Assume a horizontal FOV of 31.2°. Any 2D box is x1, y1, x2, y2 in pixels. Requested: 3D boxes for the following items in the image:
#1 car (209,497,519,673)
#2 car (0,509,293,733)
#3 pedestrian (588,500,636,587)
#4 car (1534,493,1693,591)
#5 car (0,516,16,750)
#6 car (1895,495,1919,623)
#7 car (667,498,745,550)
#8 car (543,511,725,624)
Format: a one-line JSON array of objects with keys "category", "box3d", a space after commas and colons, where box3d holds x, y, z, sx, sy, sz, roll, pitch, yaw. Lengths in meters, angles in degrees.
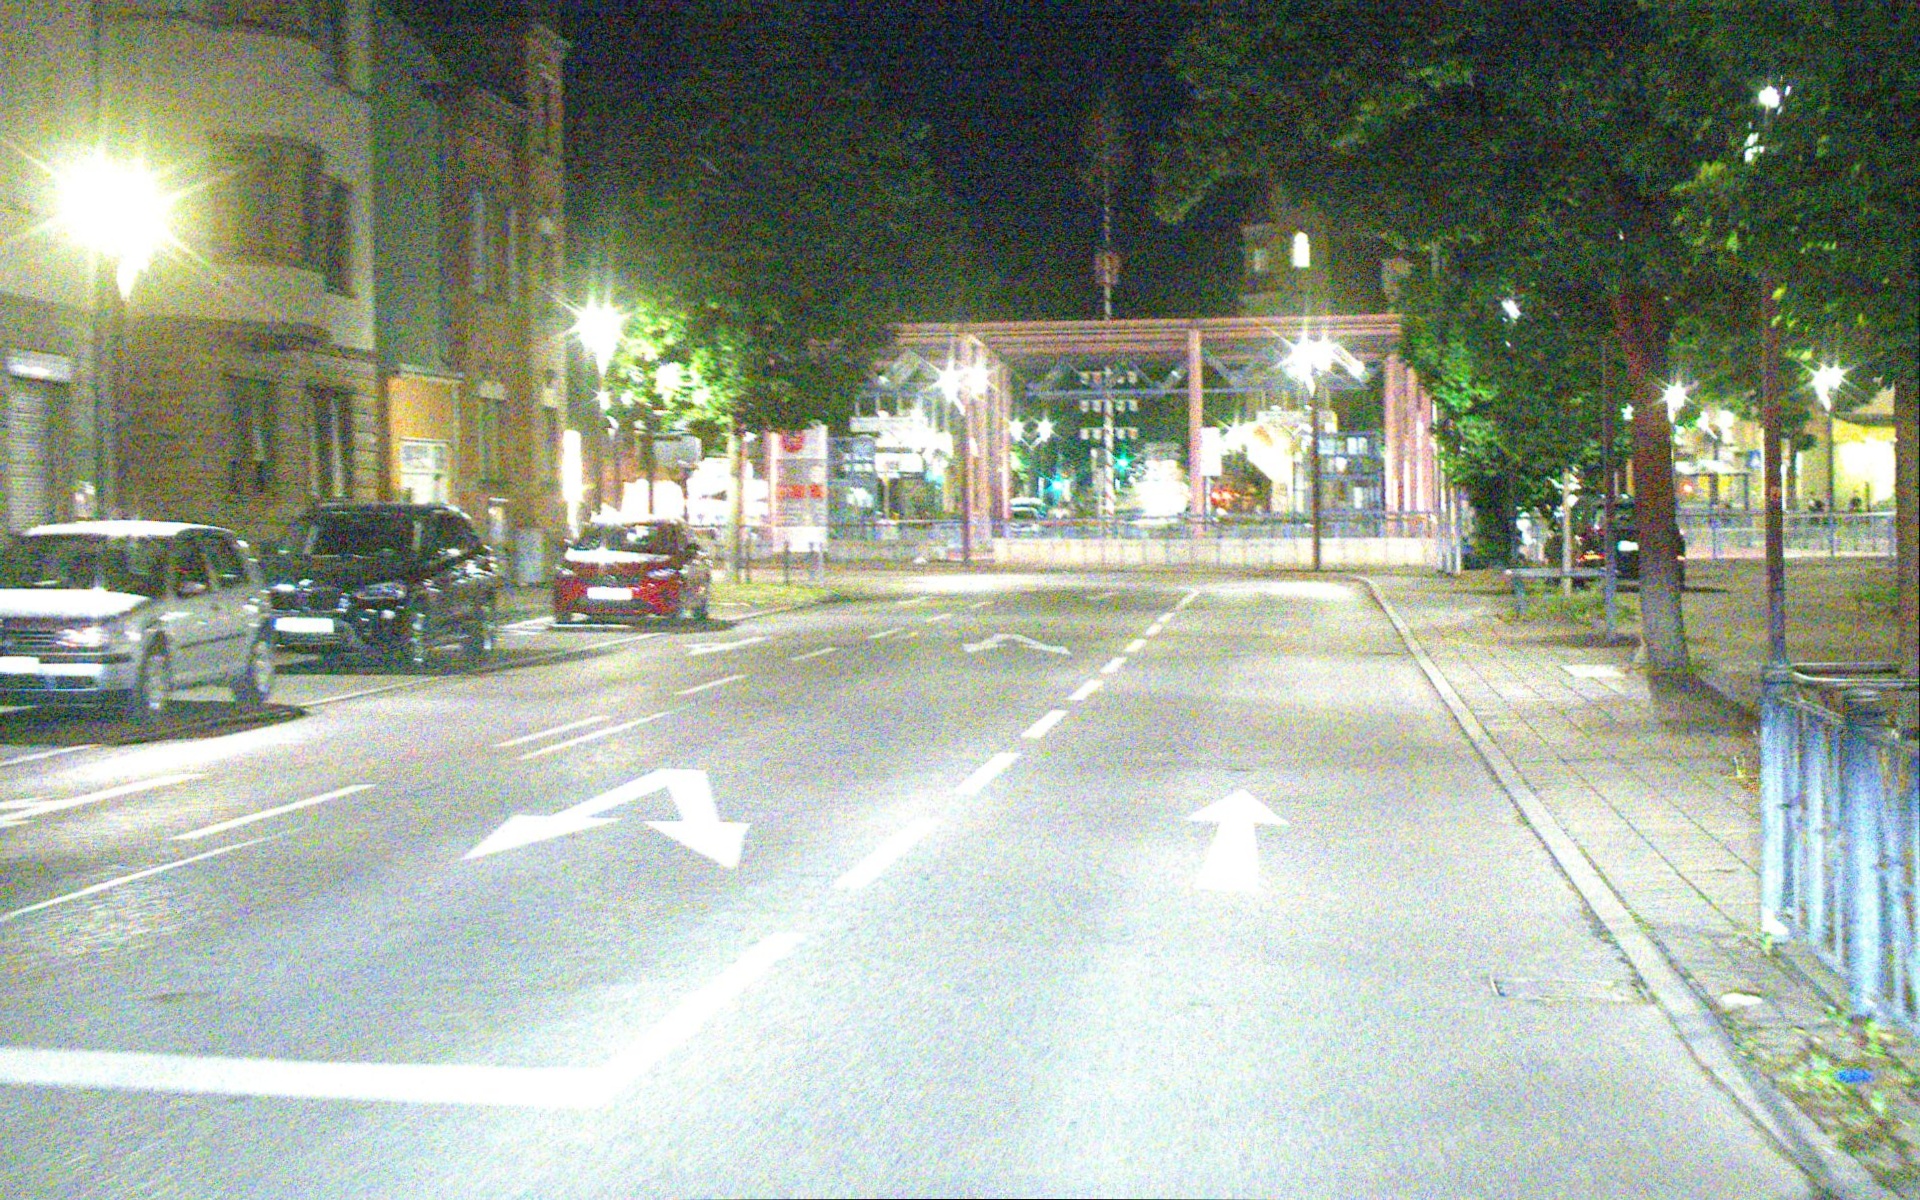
[{"category": "car", "box3d": [-5.821, -0.210, 34.121, 1.785, 1.576, 4.410, 2, 2, 7]}, {"category": "car", "box3d": [-6.493, 0.091, 25.933, 1.785, 1.486, 4.000, 2, 2, 5]}, {"category": "pedestrian", "box3d": [-7.328, -1.193, 72.343, 0.724, 1.815, 0.692, 0, 0, -40]}, {"category": "car", "box3d": [10.175, -0.930, 53.818, 1.734, 1.454, 4.728, 0, 2, 2]}, {"category": "car", "box3d": [-7.247, 0.247, 20.051, 1.785, 1.486, 4.328, 2, 2, 8]}, {"category": "car", "box3d": [13.297, -0.541, 40.201, 4.429, 1.454, 1.788, -1, 2, 11]}, {"category": "car", "box3d": [-8.012, -2.410, 108.694, 1.993, 1.568, 4.329, -1, 2, 2]}, {"category": "car", "box3d": [-4.365, -0.473, 46.581, 1.785, 1.411, 4.126, 1, 2, 4]}]
